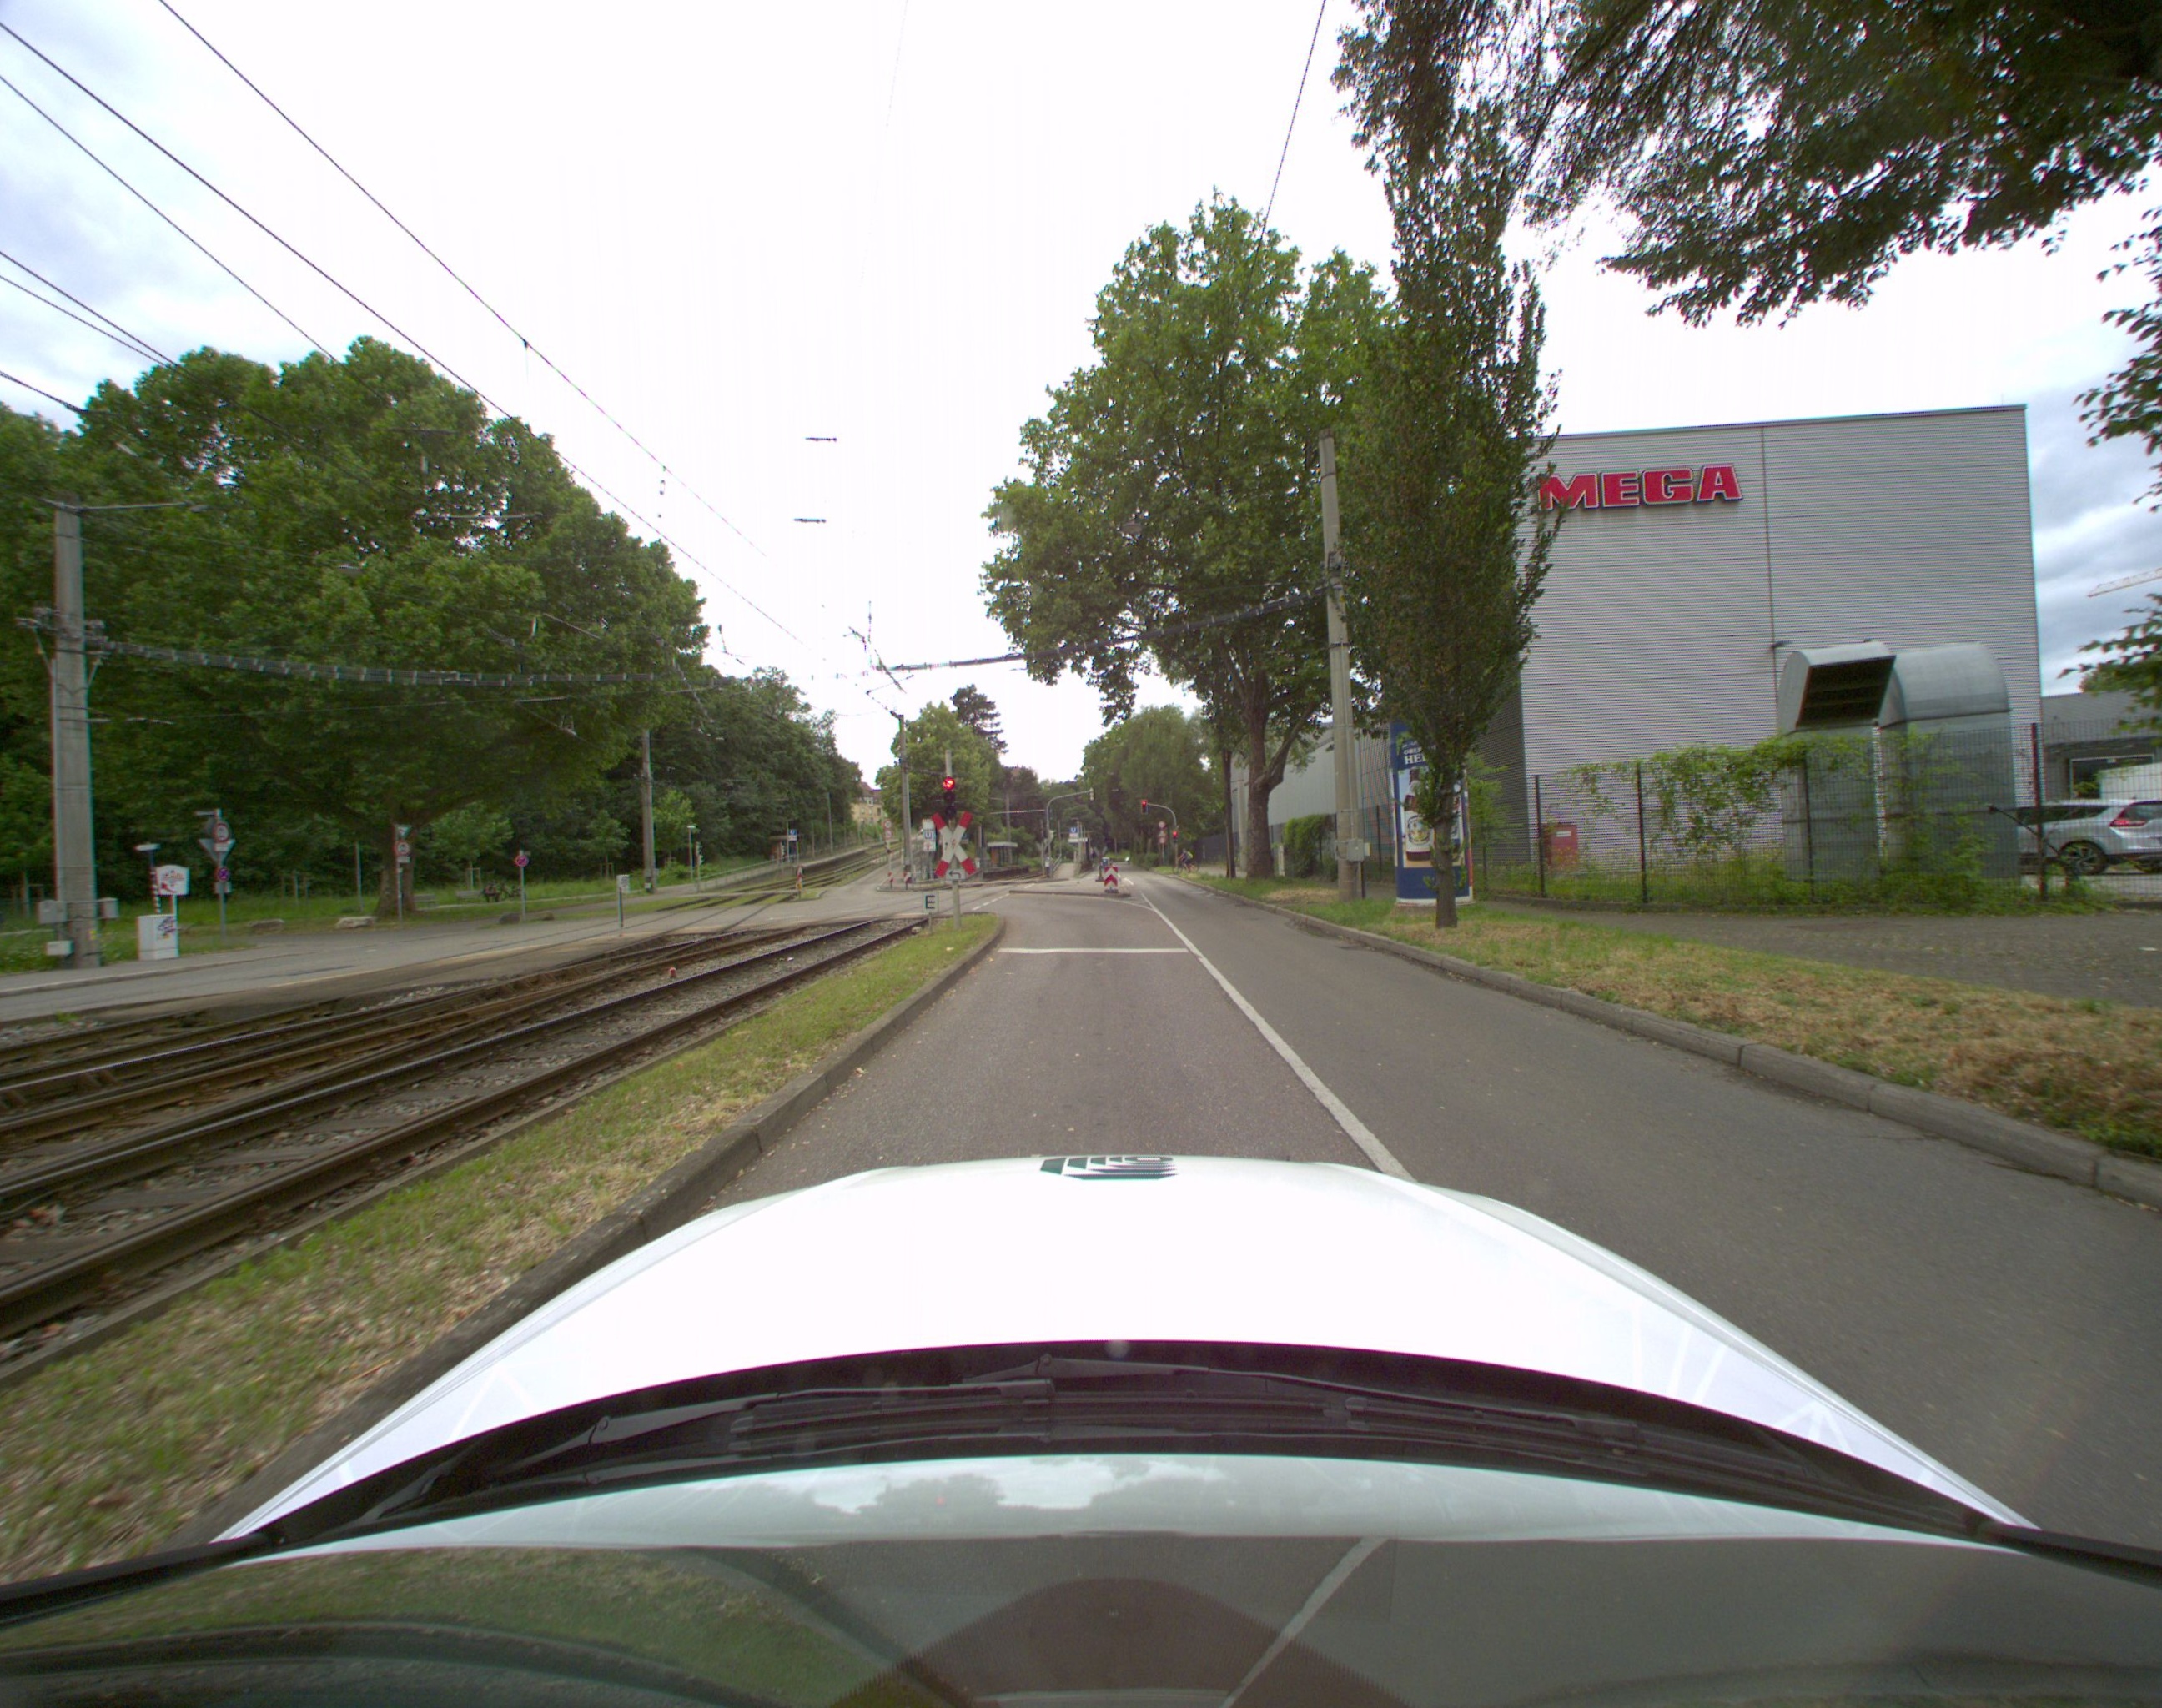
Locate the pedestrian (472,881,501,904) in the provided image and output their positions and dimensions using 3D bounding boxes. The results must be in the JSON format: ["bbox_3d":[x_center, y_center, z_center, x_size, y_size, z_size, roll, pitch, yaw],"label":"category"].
[{"bbox_3d":[-33.366,2.144,45.676,1.102,1.268,1.063,-2,-2,39],"label":"pedestrian"}]

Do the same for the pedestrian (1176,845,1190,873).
[{"bbox_3d":[7.380,0.373,58.872,0.926,2.013,0.669,-3,-1,7],"label":"pedestrian"}]

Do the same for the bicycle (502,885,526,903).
[{"bbox_3d":[-32.545,2.306,46.735,1.631,1.012,0.680,-2,-2,39],"label":"bicycle"}]

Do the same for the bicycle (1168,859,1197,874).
[{"bbox_3d":[7.339,0.882,58.852,2.063,1.007,0.669,-3,-1,7],"label":"bicycle"}]

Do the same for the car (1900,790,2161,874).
[{"bbox_3d":[22.329,-0.473,18.922,1.986,1.675,4.640,-2,0,2],"label":"car"}]

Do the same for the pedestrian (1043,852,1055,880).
[{"bbox_3d":[-2.176,0.794,55.299,0.767,1.852,0.909,-3,-1,-2],"label":"pedestrian"}]

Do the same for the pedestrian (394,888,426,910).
[{"bbox_3d":[-34.831,2.340,42.270,0.894,1.095,1.088,-2,-2,37],"label":"pedestrian"}]

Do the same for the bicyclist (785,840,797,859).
[{"bbox_3d":[-28.754,-0.430,80.801,0.820,1.848,1.049,-2,2,-7],"label":"bicyclist"}]

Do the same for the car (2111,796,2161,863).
[{"bbox_3d":[27.744,-0.653,19.581,1.974,1.675,4.666,-3,0,28],"label":"car"}]

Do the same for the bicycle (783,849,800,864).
[{"bbox_3d":[-28.723,0.230,80.833,0.823,1.343,2.990,-3,3,-7],"label":"bicycle"}]
